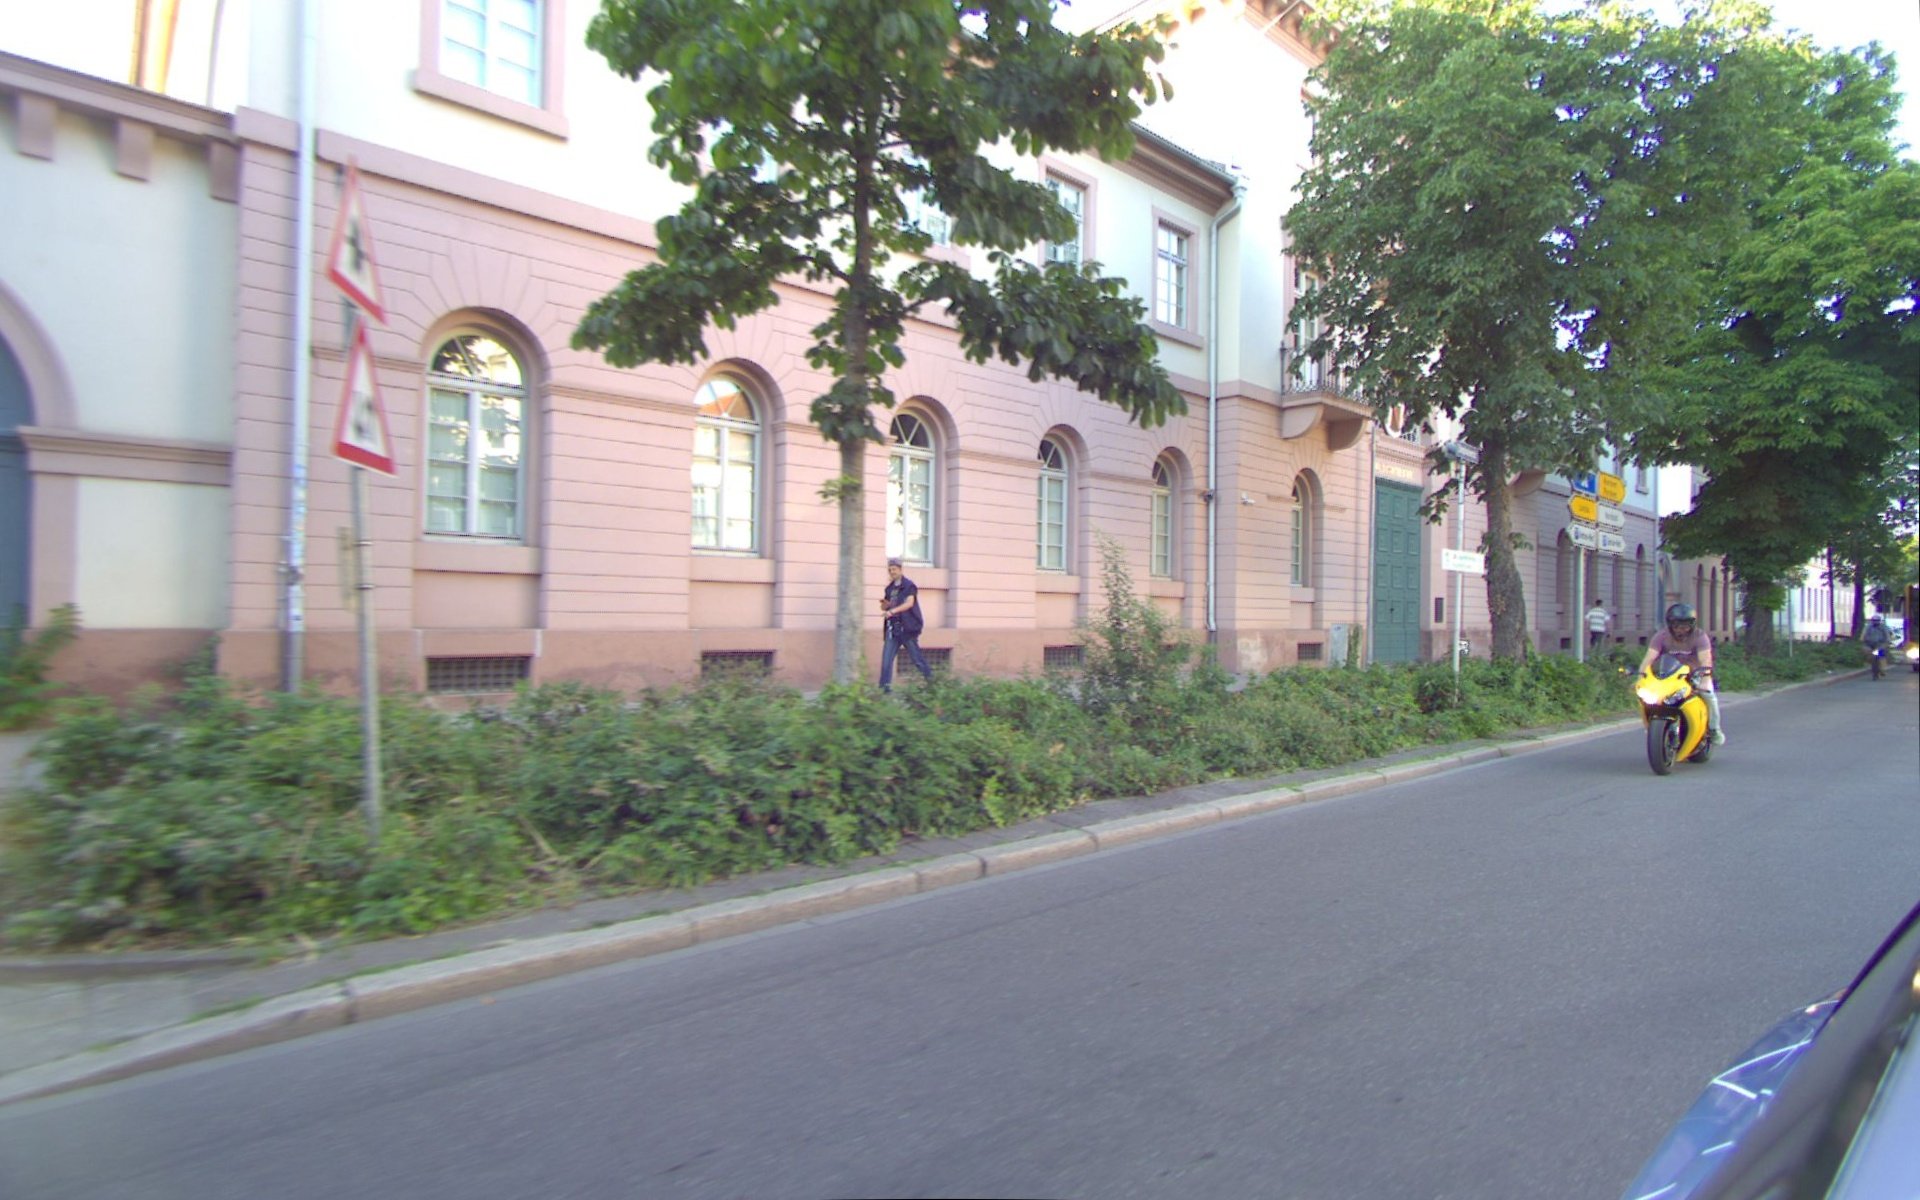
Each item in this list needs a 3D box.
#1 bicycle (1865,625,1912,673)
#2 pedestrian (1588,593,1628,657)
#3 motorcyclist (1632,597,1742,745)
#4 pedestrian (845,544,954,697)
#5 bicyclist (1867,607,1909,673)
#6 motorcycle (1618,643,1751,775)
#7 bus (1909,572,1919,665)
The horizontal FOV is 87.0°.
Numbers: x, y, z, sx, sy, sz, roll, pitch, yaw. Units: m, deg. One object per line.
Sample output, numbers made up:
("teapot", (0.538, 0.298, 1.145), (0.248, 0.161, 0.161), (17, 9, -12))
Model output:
("bicycle", (26.747, 1.394, 29.152), (2.042, 1.347, 0.782), (1, -2, -42))
("pedestrian", (19.022, 0.723, 29.721), (0.914, 1.855, 0.799), (2, -1, -44))
("motorcyclist", (7.436, 0.700, 10.352), (0.687, 1.438, 0.791), (1, -2, -45))
("pedestrian", (-0.778, 0.248, 13.038), (1.063, 1.861, 0.800), (2, 1, -39))
("bicyclist", (26.711, 1.131, 29.129), (0.812, 1.863, 0.782), (1, -3, -42))
("motorcycle", (7.456, 1.053, 10.377), (0.791, 1.175, 1.935), (-2, -2, 45))
("bus", (36.464, 0.646, 36.097), (11.872, 3.039, 2.708), (1, -2, -42))
